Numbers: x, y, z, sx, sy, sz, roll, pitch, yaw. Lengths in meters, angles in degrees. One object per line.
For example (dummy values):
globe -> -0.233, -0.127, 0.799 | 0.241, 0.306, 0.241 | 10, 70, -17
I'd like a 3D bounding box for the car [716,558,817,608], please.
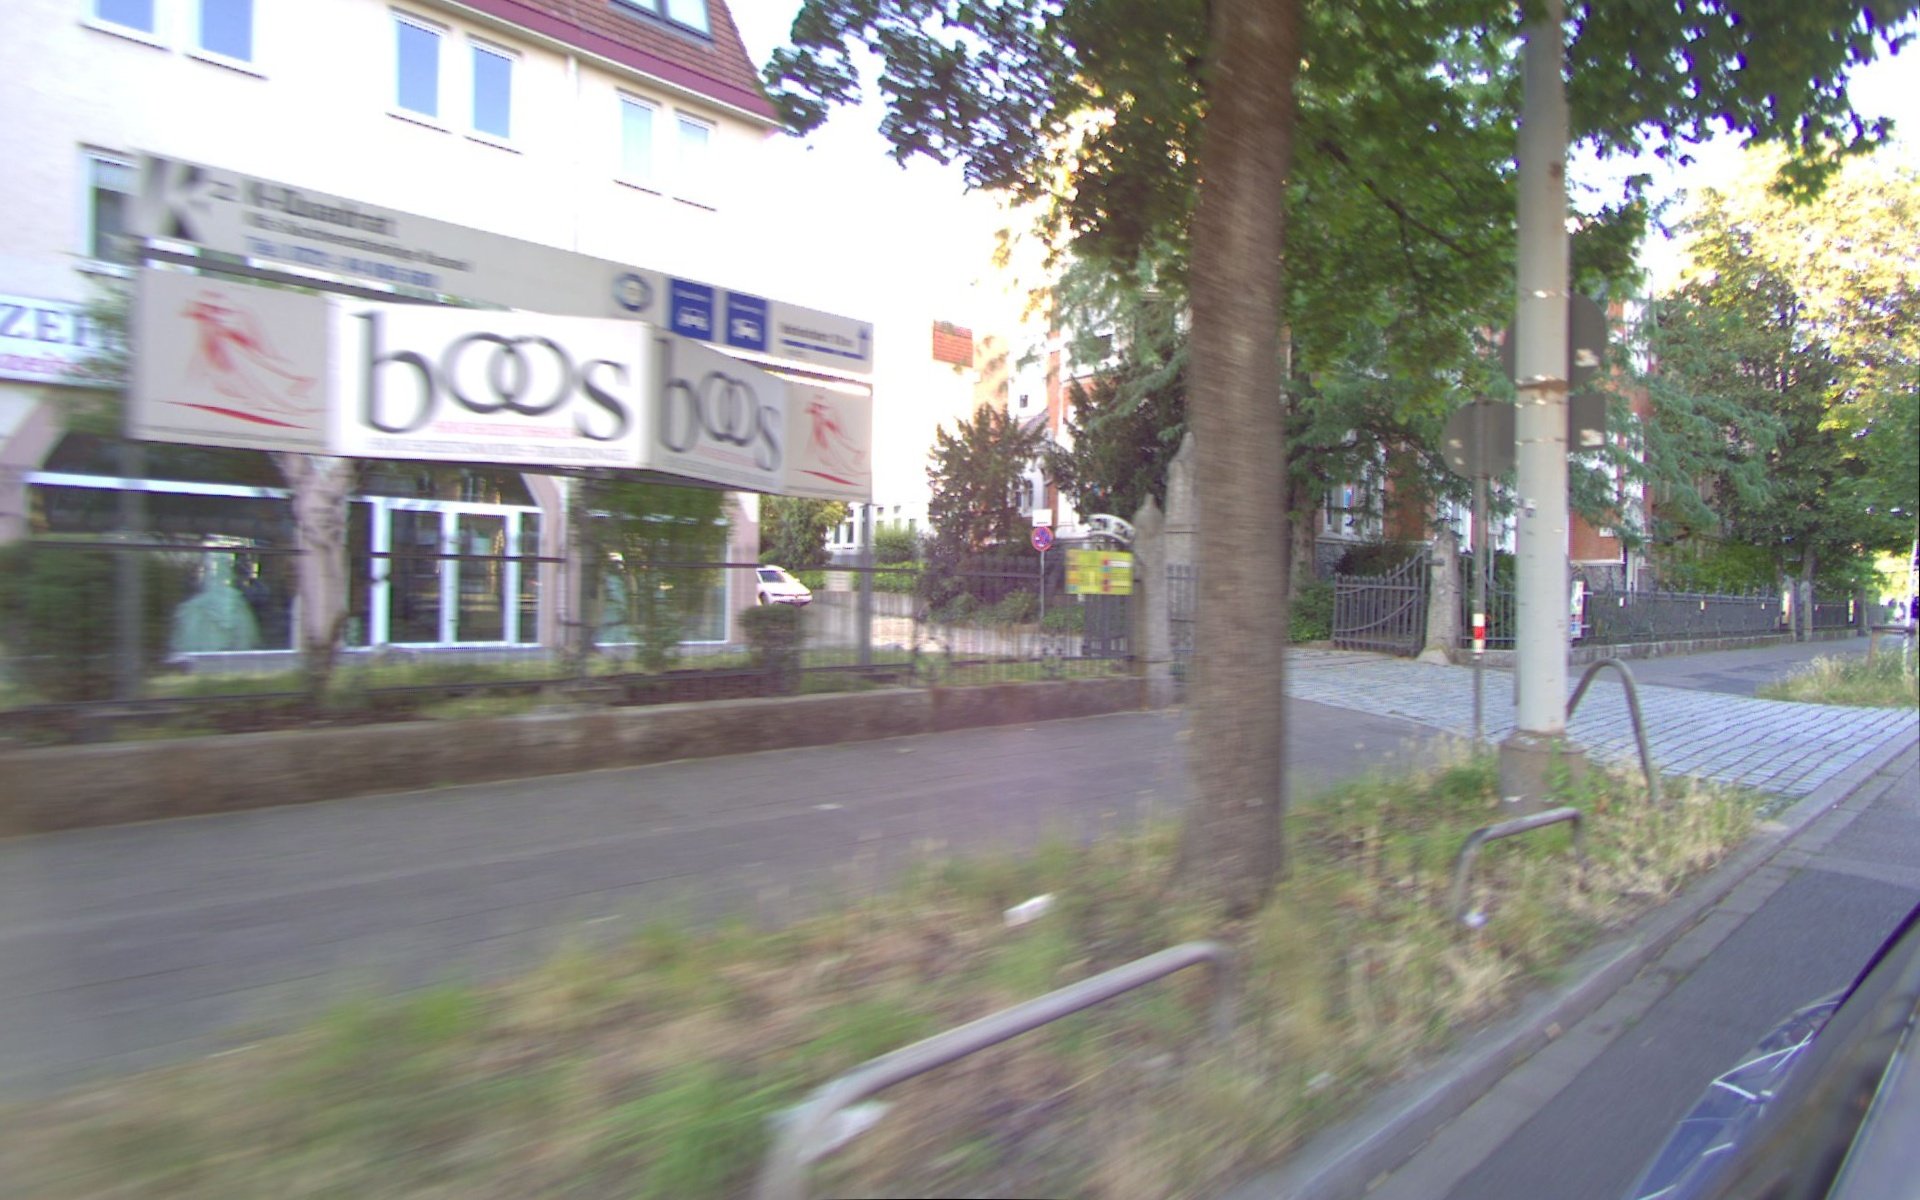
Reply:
car -> -7.147, -0.663, 37.086 | 1.788, 1.503, 4.455 | 0, 5, -38
